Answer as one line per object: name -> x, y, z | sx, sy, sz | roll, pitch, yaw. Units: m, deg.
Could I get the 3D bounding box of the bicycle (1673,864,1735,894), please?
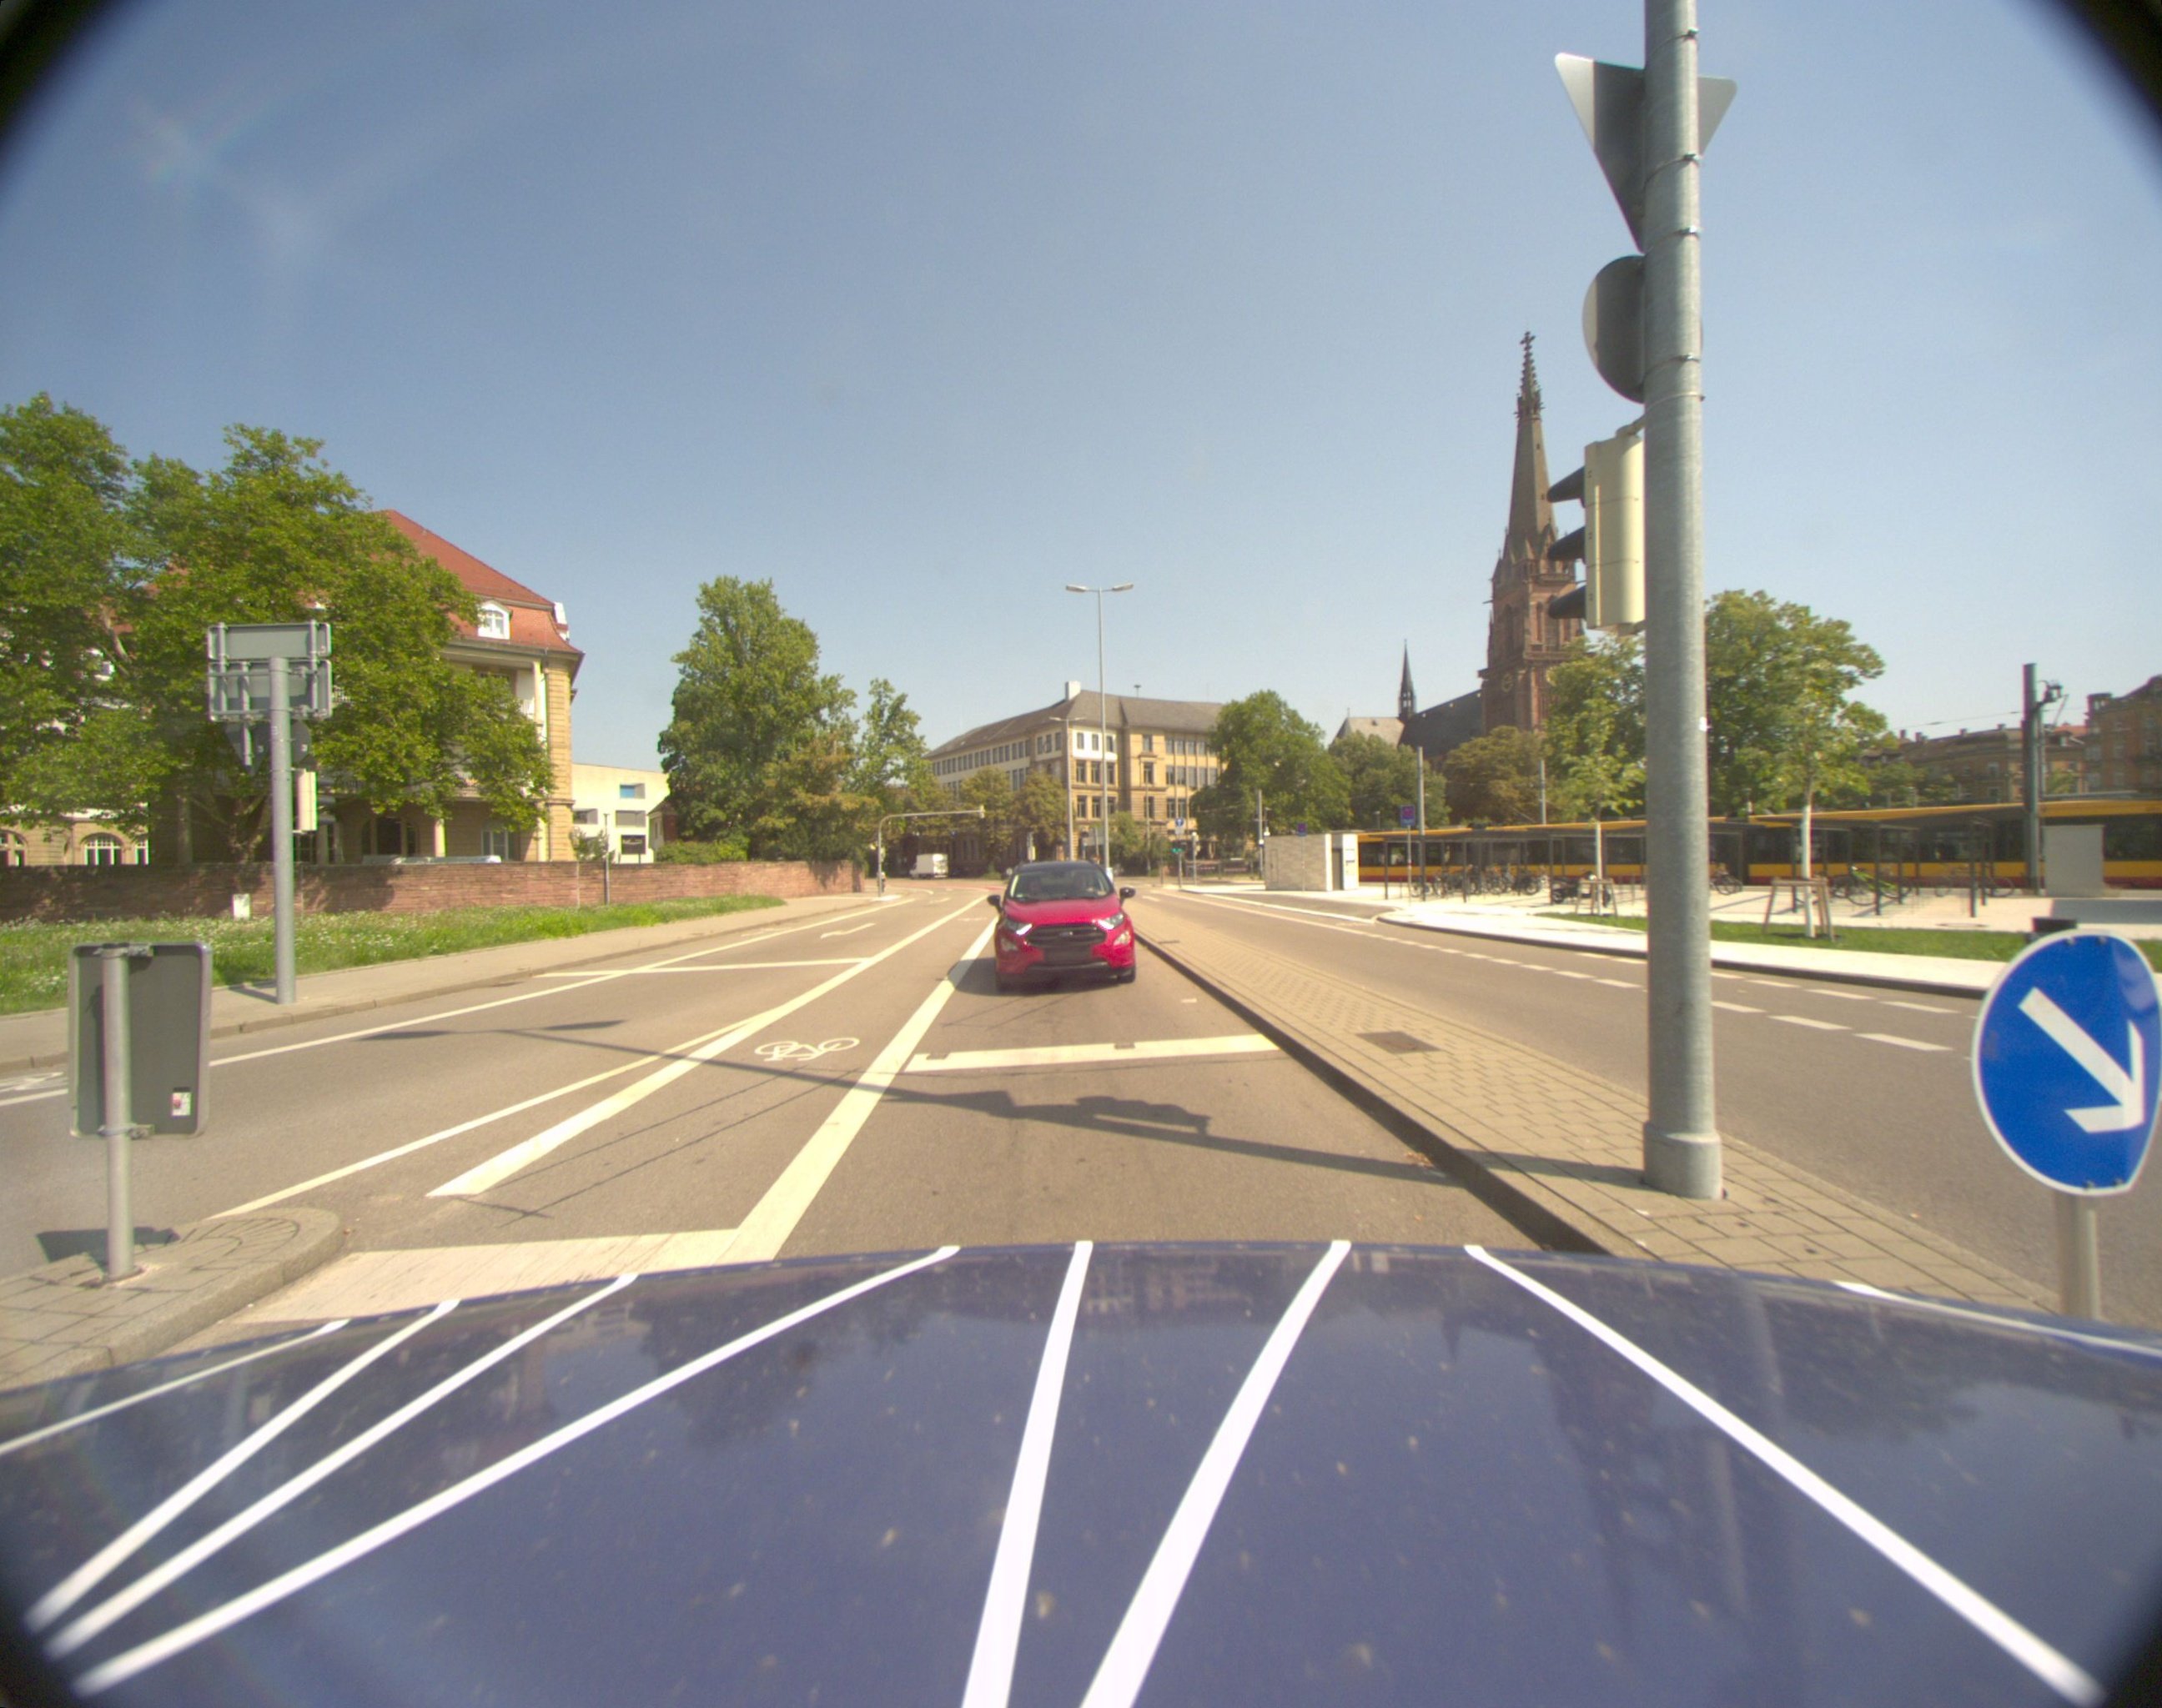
bicycle -> 22.318, 0.887, 27.246 | 0.413, 1.034, 1.637 | -1, -1, -36

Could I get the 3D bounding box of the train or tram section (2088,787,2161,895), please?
train or tram section -> 38.444, -0.525, 23.744 | 3.151, 3.548, 8.224 | 0, -2, -39

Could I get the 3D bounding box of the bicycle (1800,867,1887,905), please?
bicycle -> 21.791, 0.914, 21.753 | 1.730, 1.034, 0.514 | -2, -1, 45

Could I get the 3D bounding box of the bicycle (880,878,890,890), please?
bicycle -> -14.835, 2.259, 57.511 | 0.437, 0.807, 1.485 | -1, 0, -5

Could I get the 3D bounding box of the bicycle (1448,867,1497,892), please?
bicycle -> 16.633, 1.063, 32.319 | 0.528, 1.034, 1.766 | -1, -1, -36

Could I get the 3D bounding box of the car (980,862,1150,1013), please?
car -> -0.290, 0.965, 10.574 | 1.844, 1.605, 3.999 | -3, -1, -3

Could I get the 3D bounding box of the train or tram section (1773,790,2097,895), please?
train or tram section -> 33.348, -0.254, 30.171 | 3.168, 3.575, 8.225 | 0, -2, -38

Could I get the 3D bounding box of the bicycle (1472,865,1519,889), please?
bicycle -> 18.516, 1.028, 33.976 | 0.528, 1.034, 1.766 | -1, -1, -36

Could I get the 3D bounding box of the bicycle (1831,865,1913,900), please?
bicycle -> 24.673, 0.888, 23.737 | 1.730, 1.034, 0.514 | -2, 0, 39

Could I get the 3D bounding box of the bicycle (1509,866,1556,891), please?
bicycle -> 18.714, 1.015, 31.536 | 0.413, 1.034, 1.637 | -1, -1, -36

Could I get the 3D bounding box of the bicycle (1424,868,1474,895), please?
bicycle -> 14.878, 1.106, 30.750 | 0.528, 1.034, 1.766 | -1, -1, -36

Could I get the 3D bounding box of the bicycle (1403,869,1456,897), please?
bicycle -> 13.792, 1.127, 30.120 | 0.528, 1.075, 1.860 | -1, -1, -36

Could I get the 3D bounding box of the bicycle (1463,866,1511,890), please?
bicycle -> 17.734, 1.048, 33.221 | 0.528, 1.034, 1.766 | -1, -1, -36

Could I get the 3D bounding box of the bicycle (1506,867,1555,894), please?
bicycle -> 17.962, 1.054, 30.373 | 0.413, 1.034, 1.637 | -1, -1, -36

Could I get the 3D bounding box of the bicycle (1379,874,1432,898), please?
bicycle -> 12.524, 1.233, 29.351 | 0.492, 0.878, 1.894 | -1, -1, -35

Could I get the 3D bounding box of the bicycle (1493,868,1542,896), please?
bicycle -> 17.080, 1.083, 29.781 | 0.413, 1.034, 1.637 | -1, -1, -36

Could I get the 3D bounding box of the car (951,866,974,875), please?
car -> -16.700, 2.292, 107.192 | 3.064, 1.169, 1.248 | -1, 0, -42

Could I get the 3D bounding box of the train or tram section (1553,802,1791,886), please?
train or tram section -> 28.179, -0.276, 36.718 | 3.168, 3.575, 8.505 | 0, -2, -38

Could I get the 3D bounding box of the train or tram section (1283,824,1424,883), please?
train or tram section -> 17.714, 0.121, 49.986 | 3.144, 3.538, 8.307 | 0, -2, -38

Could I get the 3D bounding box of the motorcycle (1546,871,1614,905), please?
motorcycle -> 16.311, 1.106, 24.865 | 0.492, 1.062, 1.775 | -1, -1, -35

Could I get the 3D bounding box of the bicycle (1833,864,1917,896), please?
bicycle -> 25.923, 0.841, 24.834 | 0.514, 0.979, 1.852 | -1, -1, -40

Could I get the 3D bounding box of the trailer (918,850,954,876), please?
trailer -> -18.987, 1.219, 99.508 | 2.447, 3.268, 5.075 | -1, 0, -40

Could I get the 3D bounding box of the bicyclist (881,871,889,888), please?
bicyclist -> -14.845, 1.922, 57.540 | 0.433, 1.226, 0.540 | -1, 0, -5

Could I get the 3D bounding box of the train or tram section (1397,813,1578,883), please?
train or tram section -> 22.922, -0.162, 43.390 | 3.168, 3.575, 8.505 | 0, -2, -38

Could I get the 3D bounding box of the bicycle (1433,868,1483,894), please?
bicycle -> 15.444, 1.098, 31.173 | 0.528, 1.034, 1.766 | -1, -1, -36

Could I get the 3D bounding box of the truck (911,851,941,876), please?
truck -> -20.699, 1.269, 101.542 | 2.434, 3.268, 3.418 | -1, 0, -40
